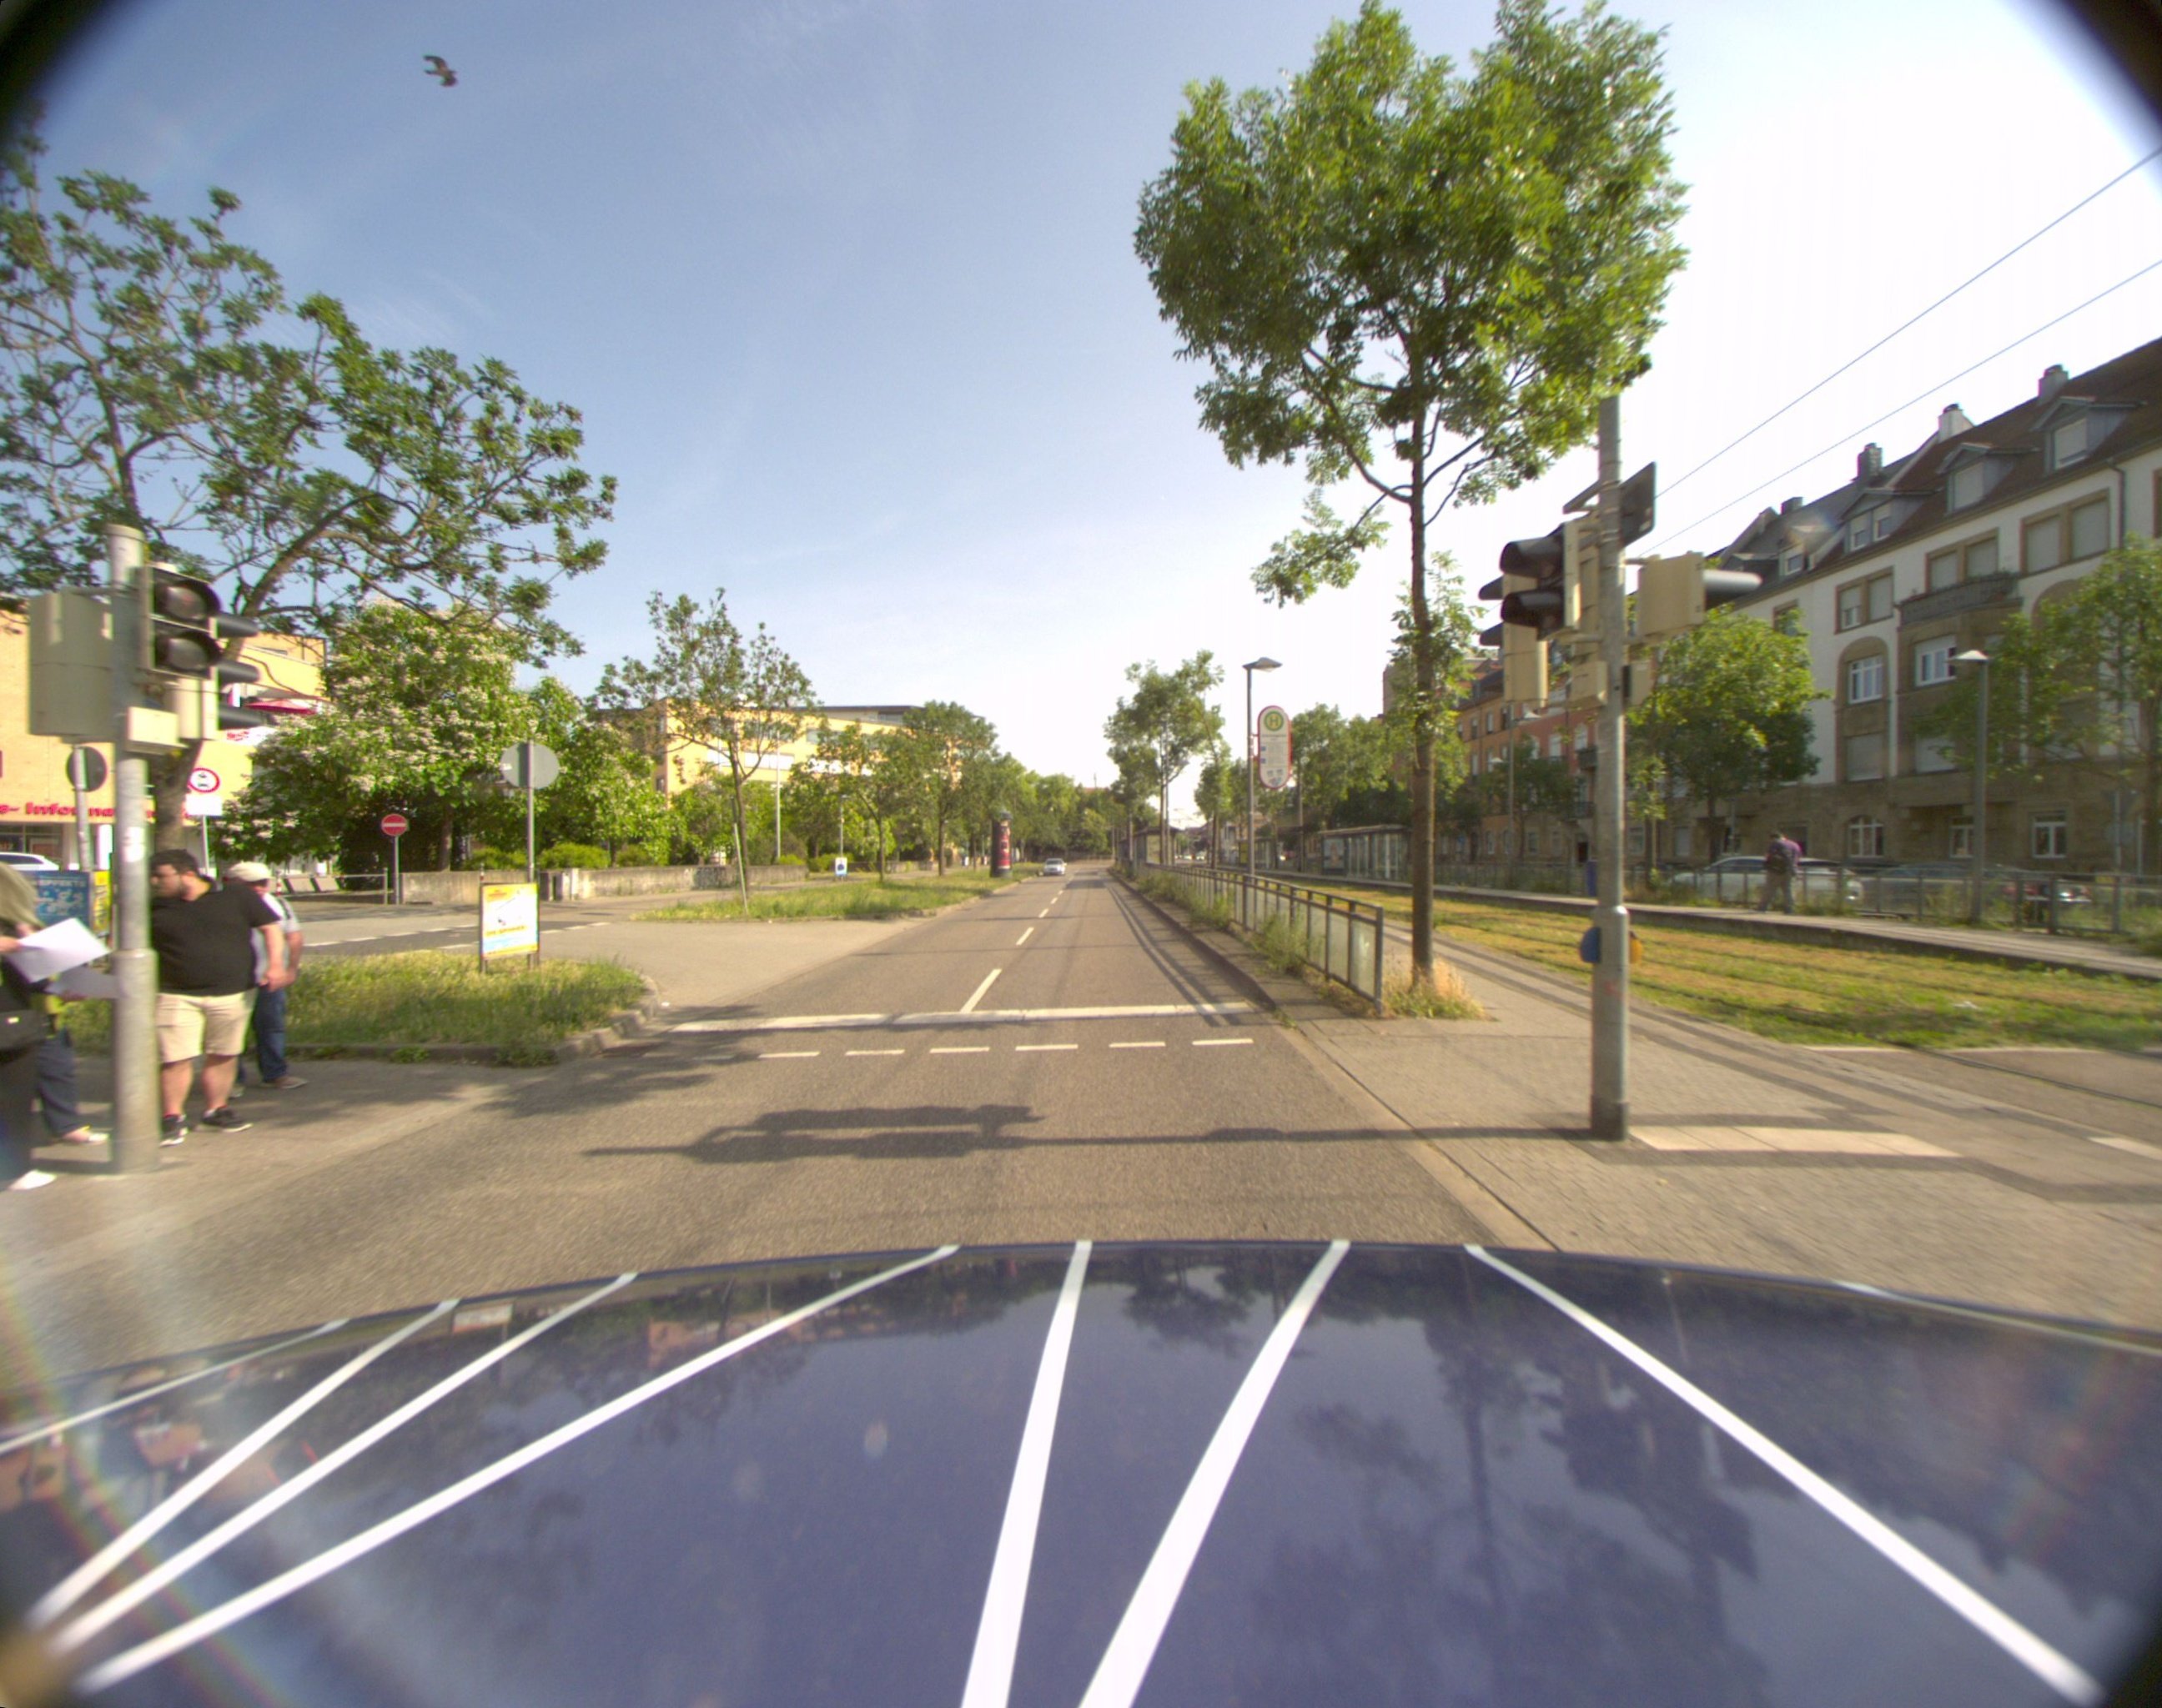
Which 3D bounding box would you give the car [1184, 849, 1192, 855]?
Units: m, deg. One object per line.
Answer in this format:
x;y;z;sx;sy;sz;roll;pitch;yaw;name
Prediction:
28.124;-0.528;200.402;1.672;1.505;3.999;0;1;1;car

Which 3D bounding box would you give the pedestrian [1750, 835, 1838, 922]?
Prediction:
13.931;0.458;14.877;0.886;1.645;0.852;0;1;1;pedestrian

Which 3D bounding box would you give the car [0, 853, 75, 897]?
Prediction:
-37.364;0.770;25.522;1.692;1.476;4.357;-3;1;-9;car

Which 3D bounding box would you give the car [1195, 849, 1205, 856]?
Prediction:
27.133;-0.364;173.938;1.672;1.505;3.999;0;1;1;car

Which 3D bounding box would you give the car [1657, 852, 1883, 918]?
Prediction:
17.394;0.698;19.547;1.776;1.432;4.424;1;1;1;car

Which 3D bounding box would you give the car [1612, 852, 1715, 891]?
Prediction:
27.755;0.793;36.371;1.907;1.610;4.000;-3;1;1;car

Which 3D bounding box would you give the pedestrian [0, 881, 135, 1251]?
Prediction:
-5.182;0.963;3.593;0.636;1.637;0.608;1;1;-3;pedestrian

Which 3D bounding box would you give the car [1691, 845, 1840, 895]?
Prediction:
25.835;0.626;28.898;3.989;1.716;2.004;-2;1;35;car

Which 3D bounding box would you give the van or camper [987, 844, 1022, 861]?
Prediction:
-13.236;-0.292;132.024;5.801;2.678;2.407;-2;1;-2;van or camper

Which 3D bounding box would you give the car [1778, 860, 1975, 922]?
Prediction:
24.927;1.158;24.046;3.989;1.716;2.004;-2;1;35;car

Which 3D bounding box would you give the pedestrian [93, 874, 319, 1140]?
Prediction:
-5.824;0.974;5.107;0.707;1.637;0.689;1;1;-1;pedestrian

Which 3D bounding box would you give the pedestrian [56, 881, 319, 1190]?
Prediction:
-5.153;0.996;4.437;0.707;1.637;0.689;1;1;-1;pedestrian

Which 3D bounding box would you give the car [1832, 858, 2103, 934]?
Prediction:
20.382;0.876;17.782;1.672;1.505;3.999;0;1;1;car

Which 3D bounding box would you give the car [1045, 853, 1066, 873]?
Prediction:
-2.088;0.729;62.711;1.629;1.476;3.365;-3;1;-1;car
